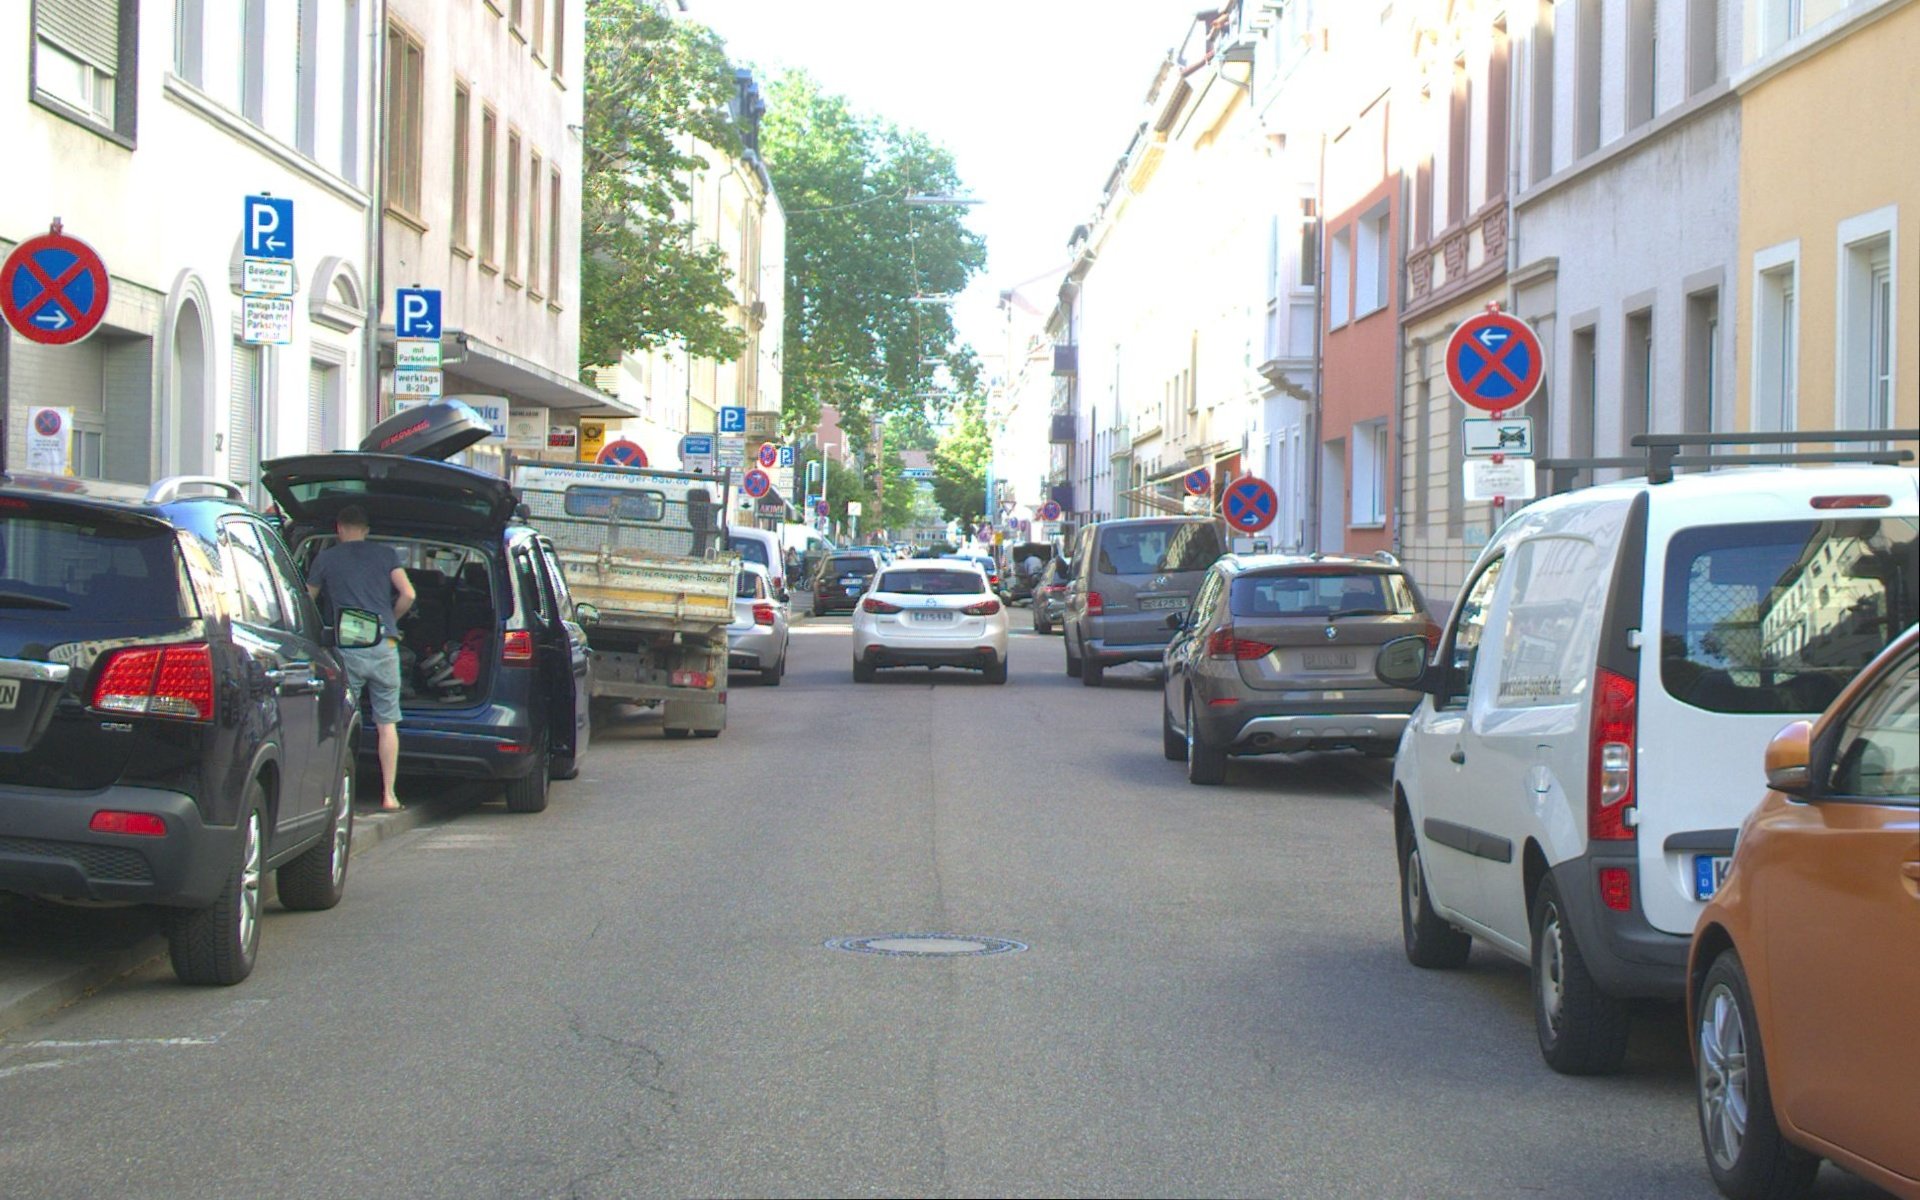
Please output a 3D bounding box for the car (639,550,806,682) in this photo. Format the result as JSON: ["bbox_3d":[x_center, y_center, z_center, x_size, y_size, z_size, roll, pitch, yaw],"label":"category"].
[{"bbox_3d":[-2.753,0.147,40.543,1.758,1.411,4.000,-1,1,-2],"label":"car"}]

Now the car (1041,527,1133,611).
[{"bbox_3d":[2.433,-0.623,66.662,1.647,1.571,3.679,1,1,0],"label":"car"}]

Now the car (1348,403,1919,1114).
[{"bbox_3d":[2.513,0.413,11.663,1.782,1.955,4.336,0,1,-1],"label":"car"}]

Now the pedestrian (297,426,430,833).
[{"bbox_3d":[-3.306,0.161,19.090,0.619,2.221,0.688,0,0,0],"label":"pedestrian"}]

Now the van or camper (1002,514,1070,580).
[{"bbox_3d":[2.295,-1.587,104.538,1.993,1.919,4.000,0,0,0],"label":"van or camper"}]

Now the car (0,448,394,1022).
[{"bbox_3d":[-3.349,0.322,12.950,1.879,1.749,4.544,4,1,-4],"label":"car"}]

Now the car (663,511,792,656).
[{"bbox_3d":[-3.108,-0.252,46.473,1.647,1.861,4.001,1,1,-3],"label":"car"}]

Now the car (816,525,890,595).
[{"bbox_3d":[-2.524,-0.969,81.665,1.625,1.591,3.580,1,1,0],"label":"car"}]

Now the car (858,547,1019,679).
[{"bbox_3d":[-0.219,0.117,41.321,1.834,1.481,4.057,0,1,1],"label":"car"}]

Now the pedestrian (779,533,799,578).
[{"bbox_3d":[-5.633,-1.468,112.971,0.627,1.459,0.575,0,0,0],"label":"pedestrian"}]

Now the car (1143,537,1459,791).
[{"bbox_3d":[2.313,0.375,24.335,1.739,1.571,4.378,0,2,-1],"label":"car"}]

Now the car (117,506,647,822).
[{"bbox_3d":[-3.425,0.302,21.562,2.441,1.700,5.242,1,1,0],"label":"car"}]

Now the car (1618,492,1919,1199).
[{"bbox_3d":[2.637,0.618,7.215,1.580,1.626,3.682,2,1,-3],"label":"car"}]

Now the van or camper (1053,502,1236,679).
[{"bbox_3d":[2.209,-0.145,42.244,1.775,2.029,4.571,-1,1,-2],"label":"van or camper"}]

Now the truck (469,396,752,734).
[{"bbox_3d":[-2.944,-0.264,29.467,2.156,2.581,6.250,0,0,-5],"label":"truck"}]
